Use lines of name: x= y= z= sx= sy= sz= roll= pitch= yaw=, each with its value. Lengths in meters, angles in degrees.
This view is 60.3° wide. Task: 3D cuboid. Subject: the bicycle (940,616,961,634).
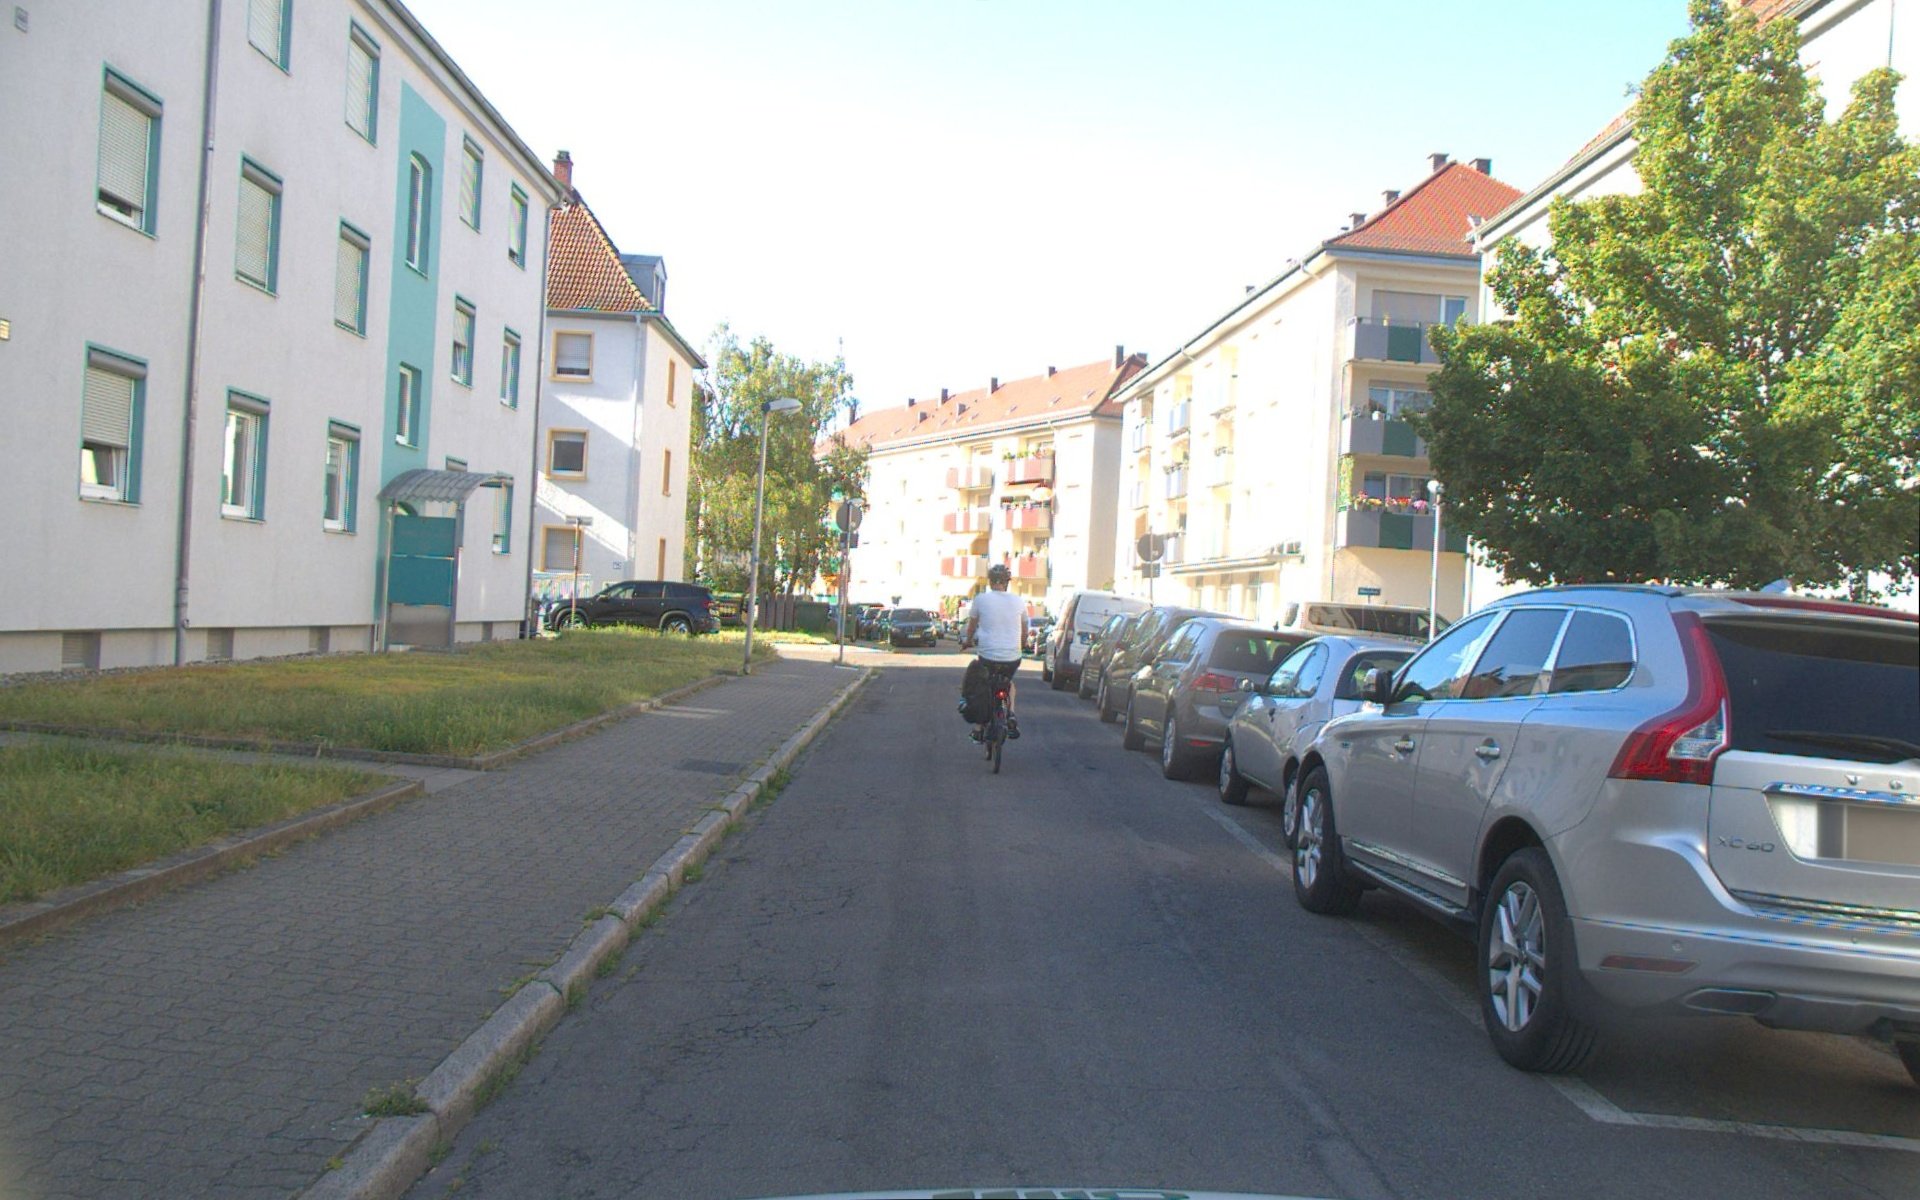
bicycle: x=-0.589 y=1.550 z=101.981 sx=0.609 sy=0.995 sz=1.883 roll=0 pitch=2 yaw=-22

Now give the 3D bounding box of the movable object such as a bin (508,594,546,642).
movable object such as a bin: x=-9.507 y=0.401 z=36.327 sx=0.600 sy=1.009 sz=0.714 roll=3 pitch=0 yaw=-2

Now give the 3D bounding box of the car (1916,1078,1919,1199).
car: x=2.978 y=0.875 z=1.671 sx=1.585 sy=1.474 sz=3.854 roll=2 pitch=0 yaw=-4

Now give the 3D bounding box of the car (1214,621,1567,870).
car: x=2.986 y=0.942 z=12.179 sx=1.595 sy=1.418 sz=3.488 roll=4 pitch=0 yaw=0

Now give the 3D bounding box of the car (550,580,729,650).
car: x=-8.564 y=0.423 z=44.453 sx=4.397 sy=1.693 sz=1.719 roll=2 pitch=-2 yaw=-1

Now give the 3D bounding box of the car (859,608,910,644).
car: x=-3.200 y=1.073 z=69.144 sx=1.647 sy=1.468 sz=4.270 roll=0 pitch=0 yaw=-9

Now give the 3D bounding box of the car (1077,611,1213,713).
car: x=2.794 y=0.902 z=25.710 sx=1.541 sy=1.442 sz=3.786 roll=0 pitch=0 yaw=-3

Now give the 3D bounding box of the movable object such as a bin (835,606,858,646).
movable object such as a bin: x=-4.098 y=0.928 z=59.744 sx=0.760 sy=1.417 sz=1.416 roll=2 pitch=-1 yaw=-3

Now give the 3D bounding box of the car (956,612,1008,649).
car: x=1.047 y=1.451 z=80.228 sx=1.663 sy=1.685 sz=4.379 roll=1 pitch=-1 yaw=-11

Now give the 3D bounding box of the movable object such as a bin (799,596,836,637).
movable object such as a bin: x=-5.171 y=0.592 z=60.022 sx=1.195 sy=1.404 sz=0.767 roll=3 pitch=-1 yaw=2

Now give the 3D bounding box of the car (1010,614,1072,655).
car: x=3.288 y=1.376 z=67.687 sx=1.646 sy=1.472 sz=4.715 roll=2 pitch=0 yaw=-8

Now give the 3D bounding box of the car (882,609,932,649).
car: x=-2.067 y=1.106 z=63.951 sx=1.645 sy=1.478 sz=4.615 roll=0 pitch=0 yaw=-6

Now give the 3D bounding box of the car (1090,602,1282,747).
car: x=2.762 y=0.867 z=20.972 sx=1.586 sy=1.577 sz=3.607 roll=3 pitch=0 yaw=-5

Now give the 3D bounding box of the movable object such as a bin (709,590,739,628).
movable object such as a bin: x=-9.290 y=0.347 z=65.185 sx=1.039 sy=1.460 sz=1.002 roll=1 pitch=0 yaw=-3

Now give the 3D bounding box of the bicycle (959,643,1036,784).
bicycle: x=0.313 y=0.976 z=14.780 sx=0.614 sy=1.134 sz=1.815 roll=1 pitch=0 yaw=-1

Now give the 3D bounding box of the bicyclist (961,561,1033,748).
bicyclist: x=0.323 y=0.473 z=14.759 sx=0.584 sy=1.606 sz=0.907 roll=1 pitch=-1 yaw=-1

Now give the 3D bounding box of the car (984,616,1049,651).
car: x=2.495 y=1.480 z=73.578 sx=1.665 sy=1.457 sz=4.670 roll=1 pitch=-1 yaw=-14

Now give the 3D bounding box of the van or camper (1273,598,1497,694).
van or camper: x=10.562 y=1.133 z=41.361 sx=5.019 sy=2.048 sz=2.000 roll=3 pitch=1 yaw=0

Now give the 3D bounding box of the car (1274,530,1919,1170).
car: x=2.750 y=0.749 z=6.862 sx=1.740 sy=1.749 sz=4.304 roll=5 pitch=0 yaw=-3

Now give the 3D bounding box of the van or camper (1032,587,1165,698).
van or camper: x=2.494 y=0.738 z=30.813 sx=1.757 sy=1.778 sz=4.732 roll=5 pitch=0 yaw=-3

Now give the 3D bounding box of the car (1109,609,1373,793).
car: x=2.575 y=0.874 z=16.065 sx=1.596 sy=1.475 sz=3.948 roll=2 pitch=0 yaw=-4

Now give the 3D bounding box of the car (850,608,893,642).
car: x=-3.991 y=1.093 z=74.392 sx=1.527 sy=1.468 sz=3.959 roll=0 pitch=0 yaw=-9

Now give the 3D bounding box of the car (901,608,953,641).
car: x=-1.877 y=1.349 z=92.688 sx=1.739 sy=1.664 sz=4.018 roll=1 pitch=1 yaw=-20
